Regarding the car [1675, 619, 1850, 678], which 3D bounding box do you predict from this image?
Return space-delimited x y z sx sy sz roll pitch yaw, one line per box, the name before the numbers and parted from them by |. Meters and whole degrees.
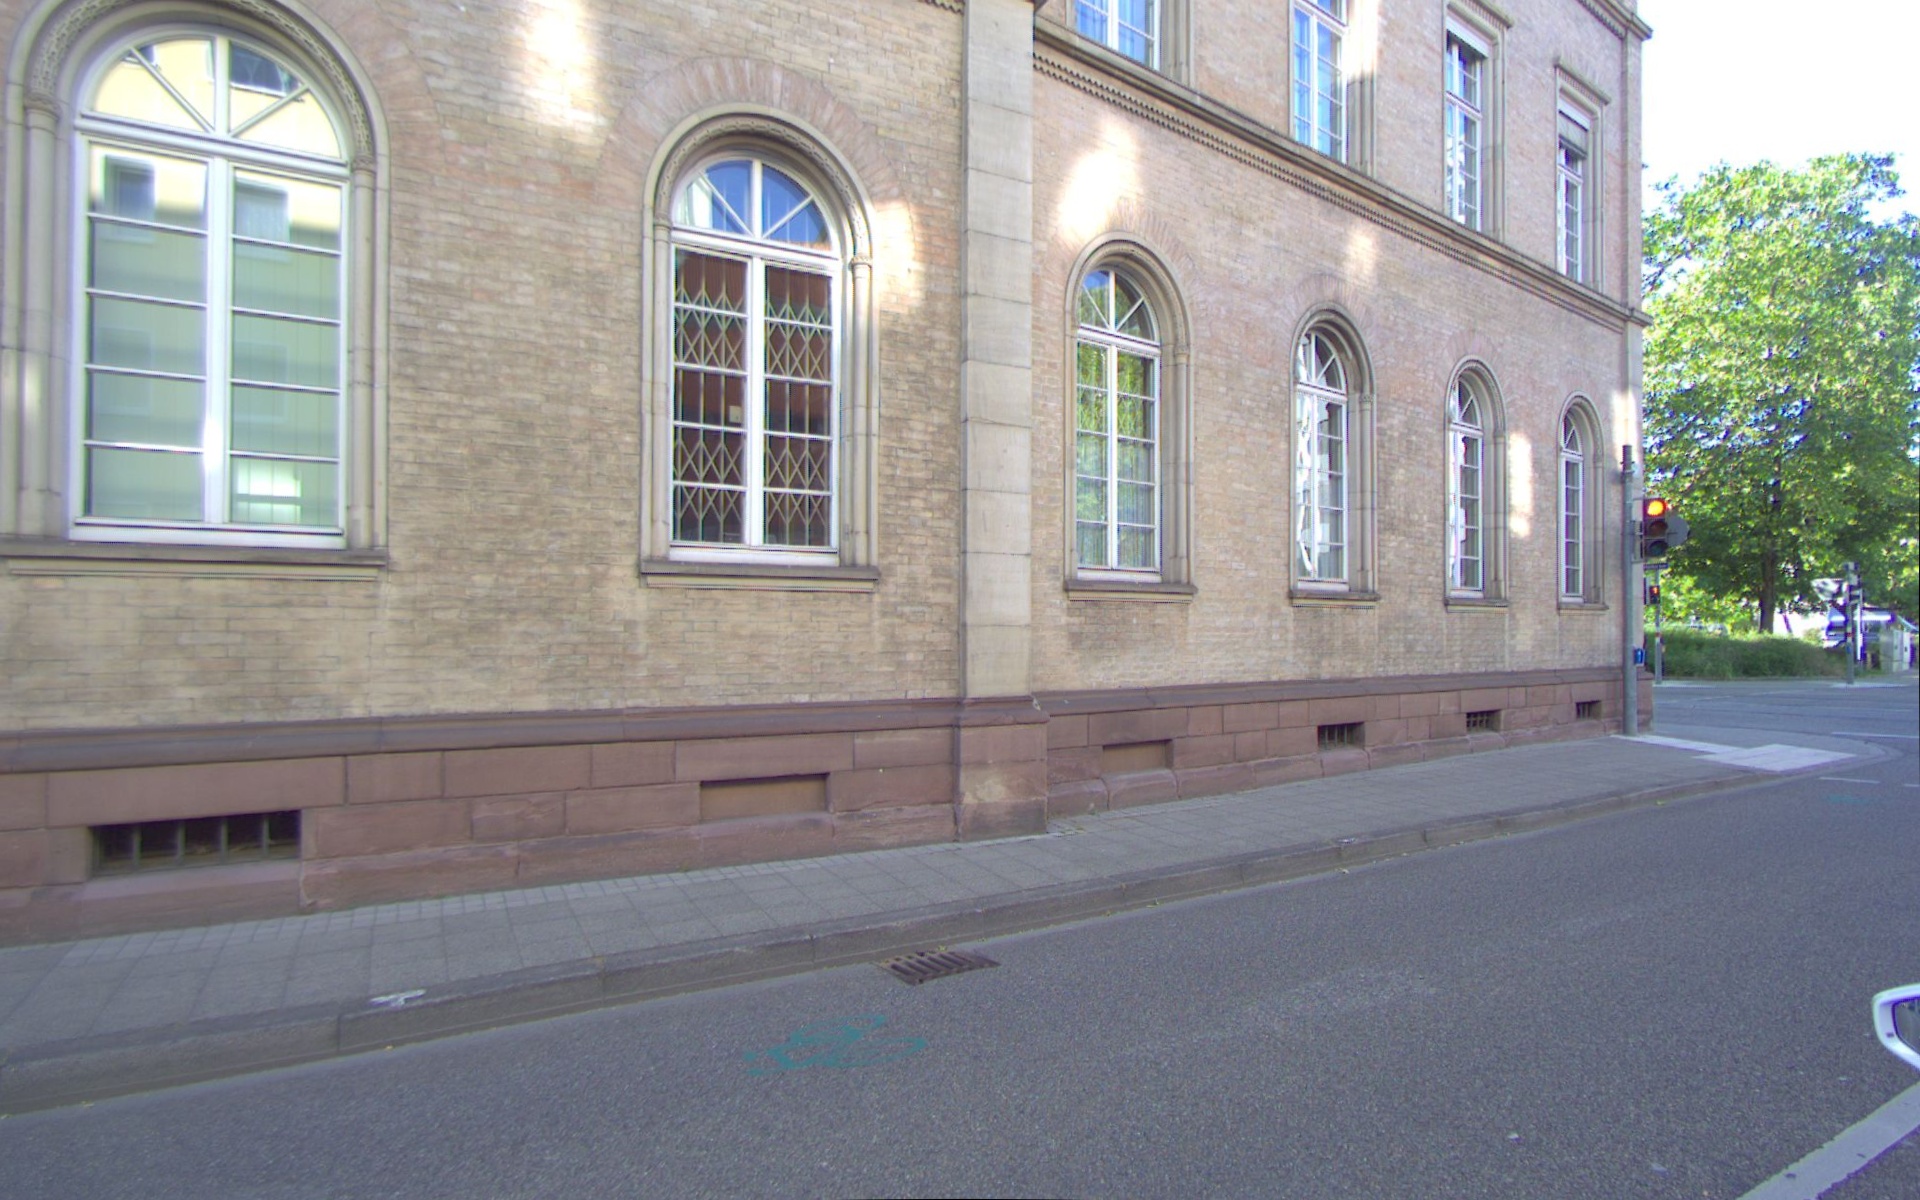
car | 26.353 1.545 33.114 1.888 1.801 4.193 1 -2 -37
